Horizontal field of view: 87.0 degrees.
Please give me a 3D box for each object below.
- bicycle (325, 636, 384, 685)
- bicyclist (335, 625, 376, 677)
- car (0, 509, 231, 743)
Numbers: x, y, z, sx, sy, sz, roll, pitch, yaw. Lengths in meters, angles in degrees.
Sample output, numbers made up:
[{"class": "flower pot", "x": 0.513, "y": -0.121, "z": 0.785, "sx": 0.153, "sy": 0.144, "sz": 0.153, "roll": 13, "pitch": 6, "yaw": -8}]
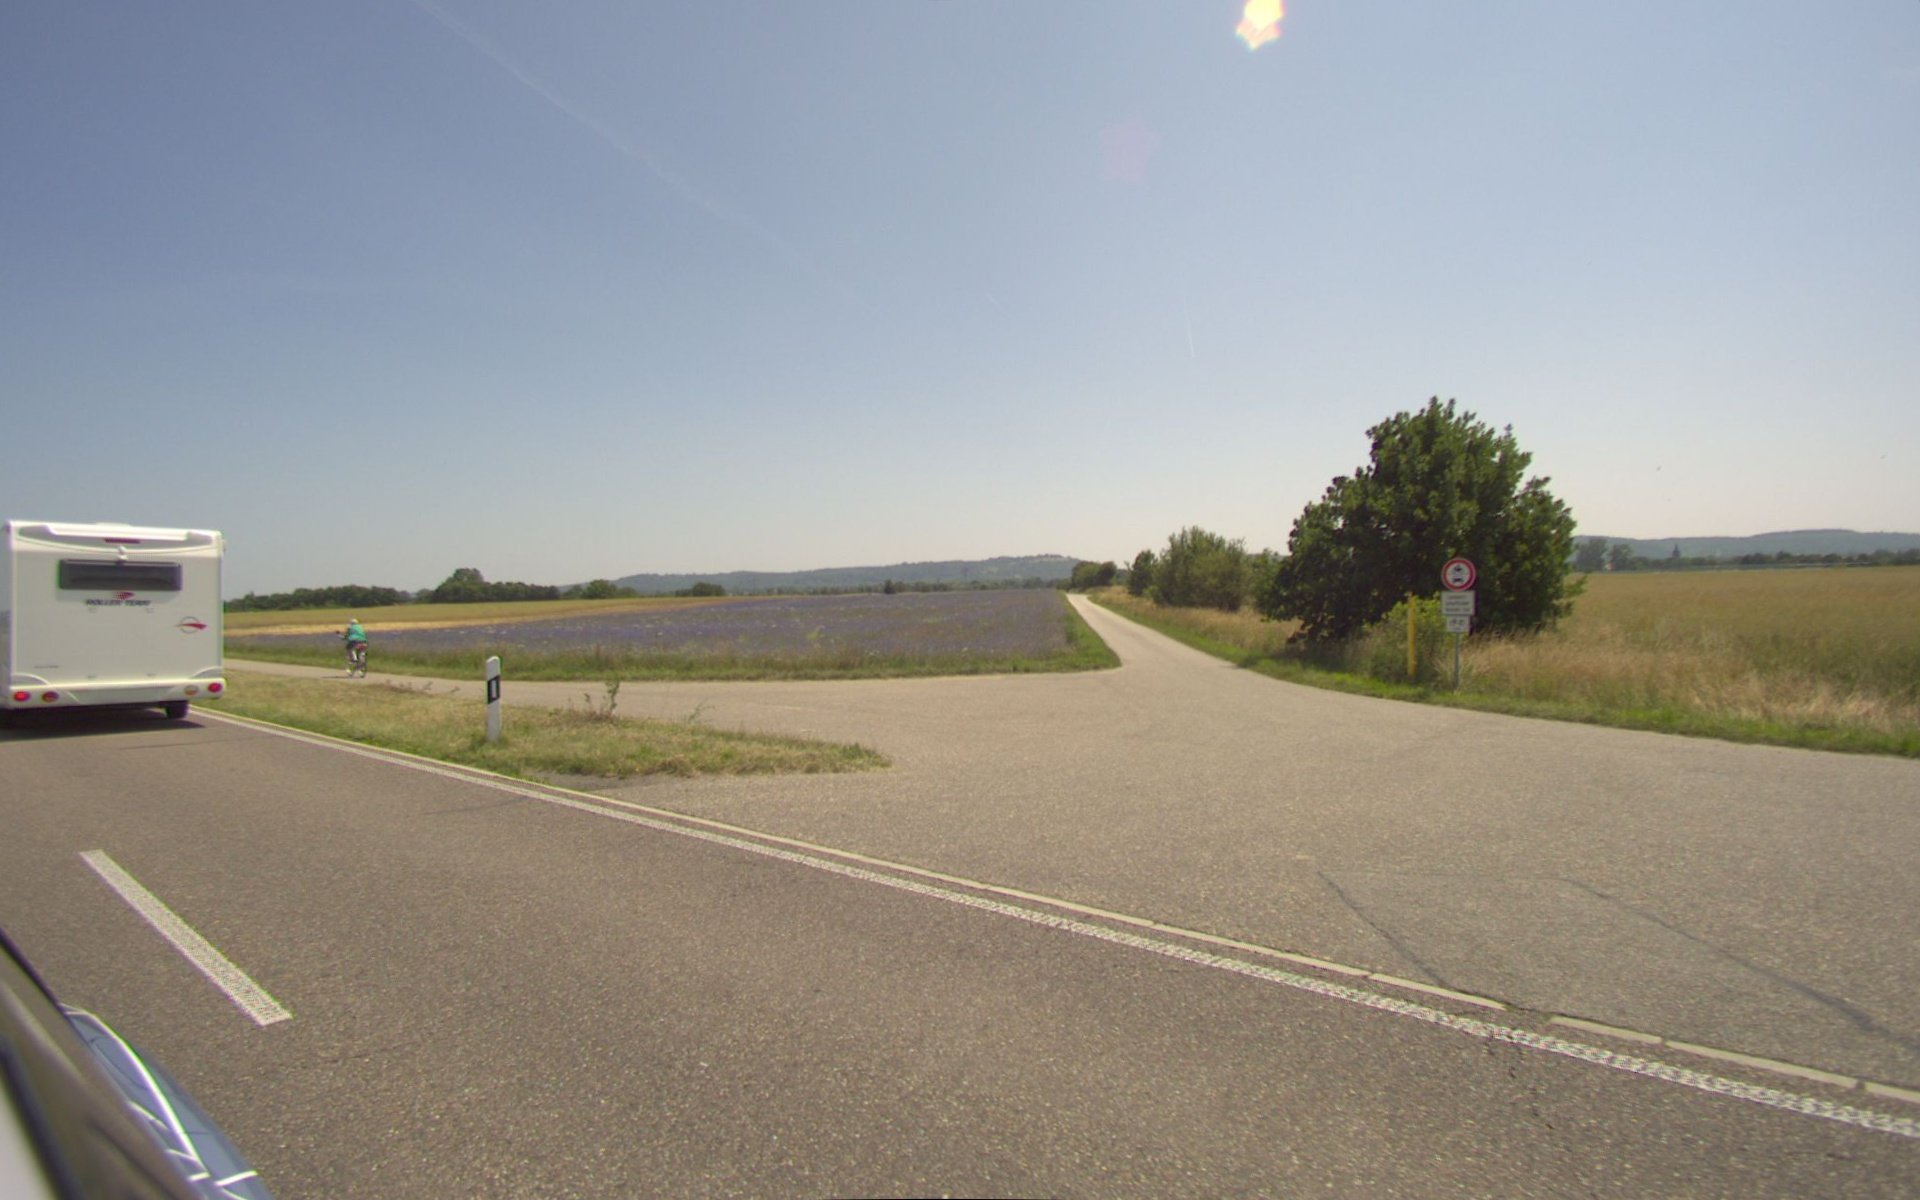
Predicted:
[{"class": "bicycle", "x": -16.208, "y": 1.596, "z": 27.080, "sx": 2.215, "sy": 1.238, "sz": 0.754, "roll": -2, "pitch": -1, "yaw": 43}, {"class": "bicyclist", "x": -16.157, "y": 1.347, "z": 27.059, "sx": 0.965, "sy": 1.341, "sz": 0.694, "roll": -2, "pitch": -1, "yaw": 43}, {"class": "car", "x": -13.789, "y": 0.409, "z": 15.822, "sx": 7.627, "sy": 2.868, "sz": 2.371, "roll": -1, "pitch": -2, "yaw": 43}]
